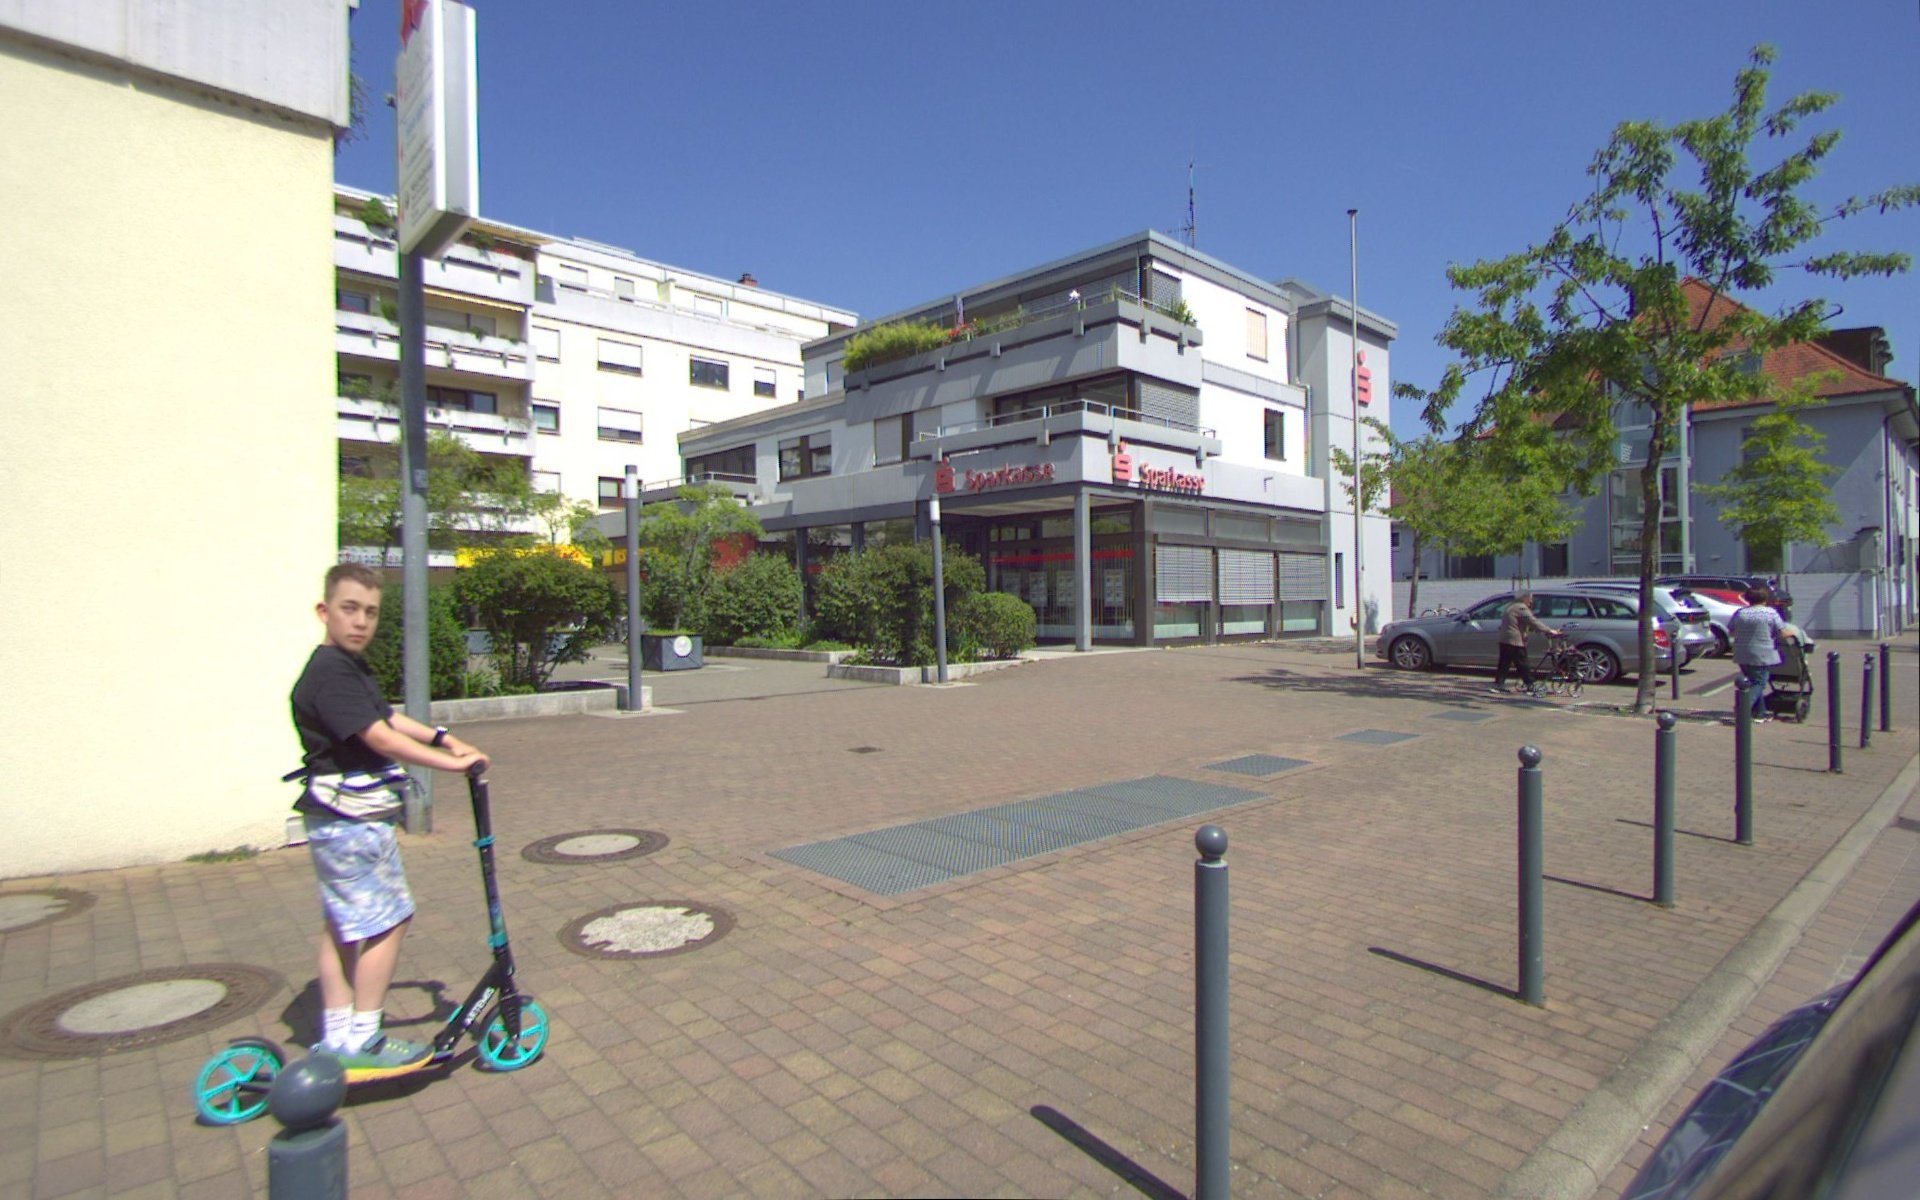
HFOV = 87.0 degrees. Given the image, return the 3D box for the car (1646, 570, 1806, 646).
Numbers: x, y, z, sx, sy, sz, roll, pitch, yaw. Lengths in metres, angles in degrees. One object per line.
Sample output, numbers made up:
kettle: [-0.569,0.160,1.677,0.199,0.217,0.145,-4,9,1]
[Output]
car: [18.966,0.143,25.102,3.032,1.759,1.324,1,1,44]

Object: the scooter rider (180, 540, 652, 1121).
scooter rider: [-1.502,0.524,2.873,1.113,1.341,0.462,0,0,-40]

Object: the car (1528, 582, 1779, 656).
car: [15.233,0.344,22.393,4.429,1.460,1.632,1,1,42]

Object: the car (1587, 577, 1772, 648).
car: [17.059,0.259,24.091,3.421,1.571,1.467,0,0,45]

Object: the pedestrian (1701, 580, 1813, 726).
pedestrian: [8.701,0.553,11.047,1.026,1.535,0.514,0,0,-23]

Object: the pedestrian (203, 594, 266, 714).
pedestrian: [-9.394,0.672,13.094,0.594,1.482,0.794,0,0,-40]

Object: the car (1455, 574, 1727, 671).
car: [11.560,0.326,18.703,4.033,1.579,1.686,1,1,43]

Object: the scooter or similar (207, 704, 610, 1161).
scooter or similar: [-1.533,0.837,2.865,0.943,0.977,0.411,-1,0,-39]

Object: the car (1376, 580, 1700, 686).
car: [9.461,0.435,16.821,4.432,1.484,1.664,2,2,44]

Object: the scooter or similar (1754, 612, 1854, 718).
scooter or similar: [9.497,0.713,11.391,0.890,1.132,0.507,0,1,-23]

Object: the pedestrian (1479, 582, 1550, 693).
pedestrian: [7.781,0.515,14.216,0.712,1.520,0.531,0,0,7]

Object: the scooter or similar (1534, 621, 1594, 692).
scooter or similar: [8.429,0.774,14.140,0.537,0.958,0.535,0,0,7]
